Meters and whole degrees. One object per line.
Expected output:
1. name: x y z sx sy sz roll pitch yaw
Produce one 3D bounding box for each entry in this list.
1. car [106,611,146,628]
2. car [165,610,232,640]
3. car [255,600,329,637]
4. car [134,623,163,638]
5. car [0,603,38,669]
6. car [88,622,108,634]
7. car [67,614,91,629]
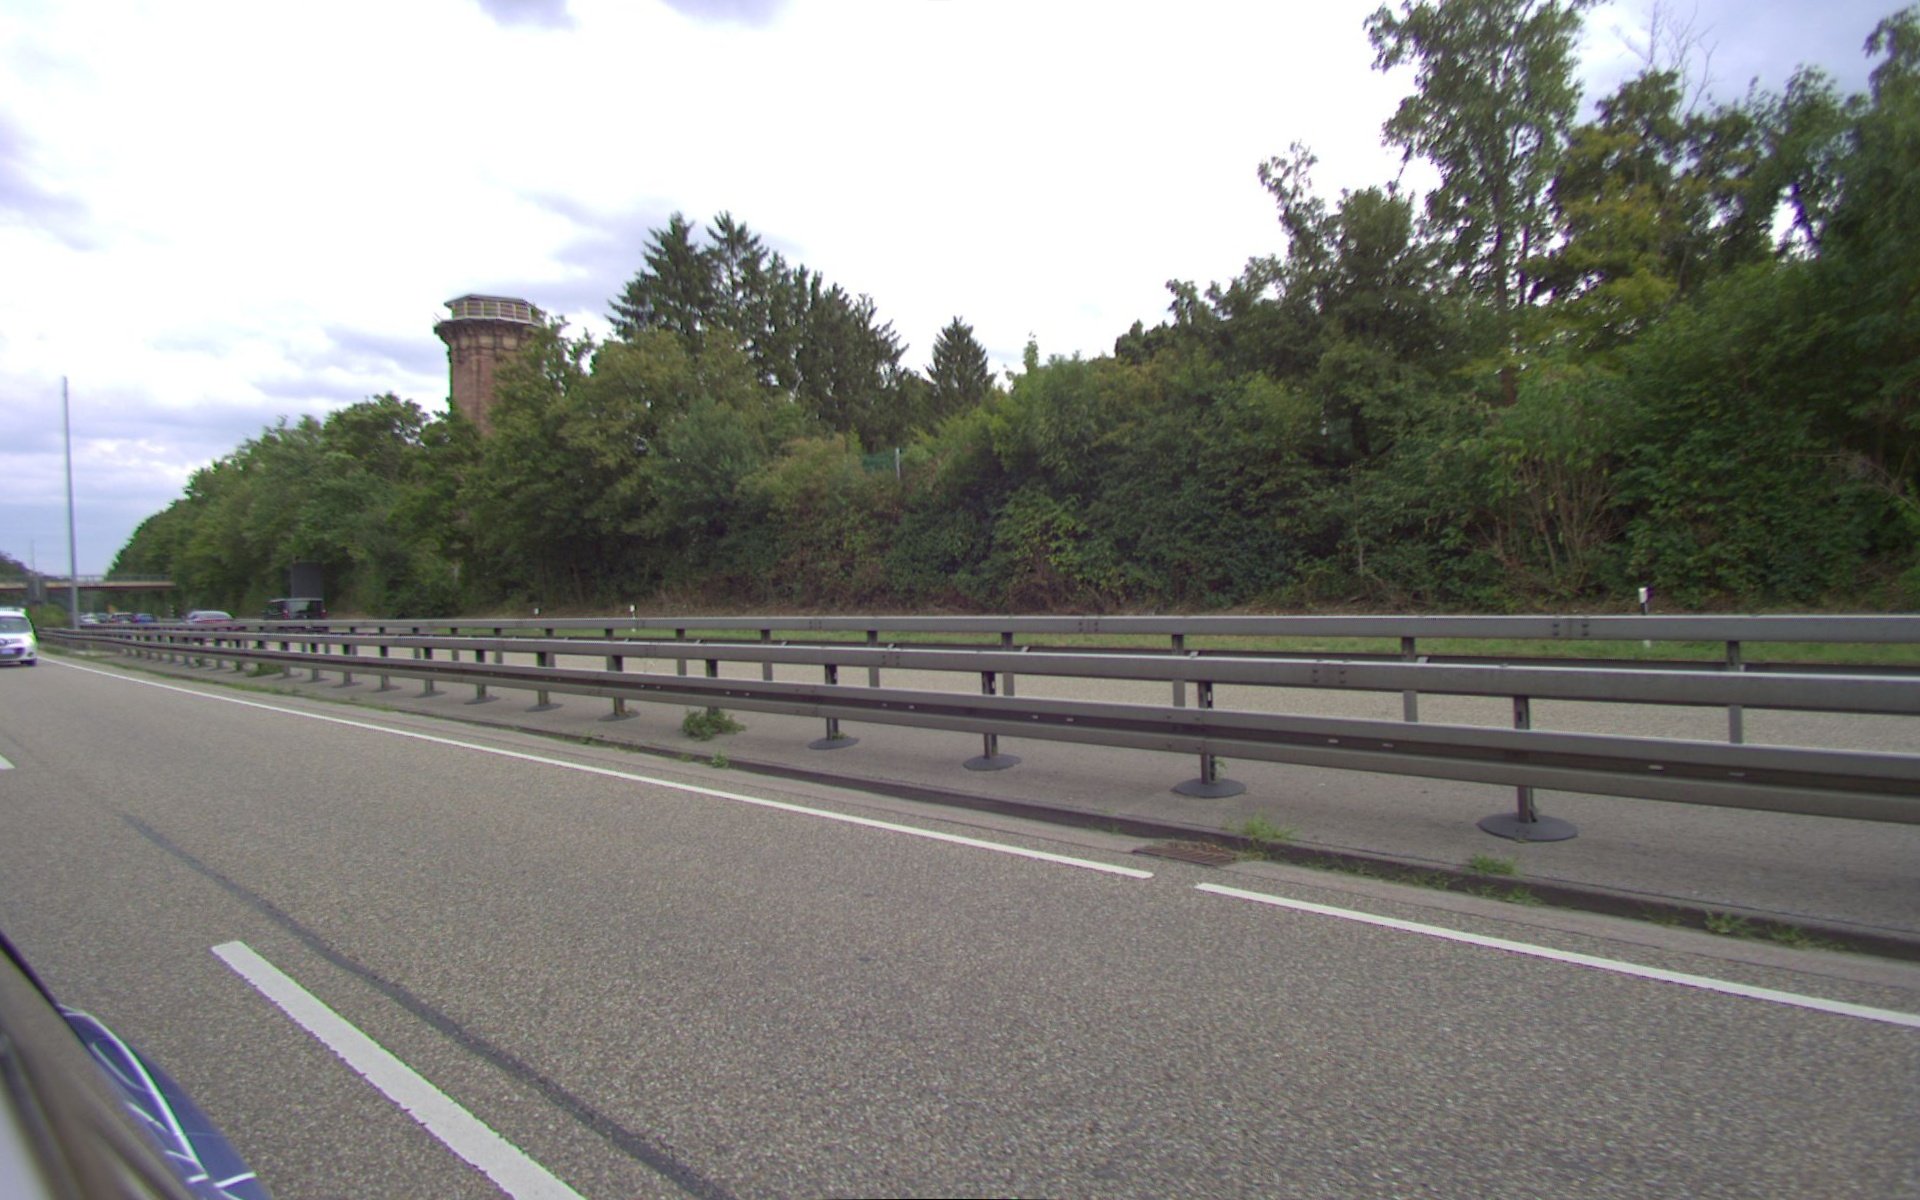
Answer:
1. car: -68.276 1.615 82.857 4.067 1.309 1.957 -1 -1 42
2. car: -35.073 1.133 46.587 4.712 1.288 1.637 -1 -1 43
3. car: -34.138 0.924 51.660 5.122 1.817 2.013 -1 -1 43
4. car: -79.747 2.963 99.427 4.059 1.461 1.791 -1 -1 45
5. car: -31.023 1.132 32.384 4.422 2.020 1.798 -1 -1 42
6. car: -111.594 3.572 131.004 3.730 1.519 1.610 -1 -1 45
7. car: -90.269 2.201 103.696 1.692 1.437 4.060 0 -1 -44
